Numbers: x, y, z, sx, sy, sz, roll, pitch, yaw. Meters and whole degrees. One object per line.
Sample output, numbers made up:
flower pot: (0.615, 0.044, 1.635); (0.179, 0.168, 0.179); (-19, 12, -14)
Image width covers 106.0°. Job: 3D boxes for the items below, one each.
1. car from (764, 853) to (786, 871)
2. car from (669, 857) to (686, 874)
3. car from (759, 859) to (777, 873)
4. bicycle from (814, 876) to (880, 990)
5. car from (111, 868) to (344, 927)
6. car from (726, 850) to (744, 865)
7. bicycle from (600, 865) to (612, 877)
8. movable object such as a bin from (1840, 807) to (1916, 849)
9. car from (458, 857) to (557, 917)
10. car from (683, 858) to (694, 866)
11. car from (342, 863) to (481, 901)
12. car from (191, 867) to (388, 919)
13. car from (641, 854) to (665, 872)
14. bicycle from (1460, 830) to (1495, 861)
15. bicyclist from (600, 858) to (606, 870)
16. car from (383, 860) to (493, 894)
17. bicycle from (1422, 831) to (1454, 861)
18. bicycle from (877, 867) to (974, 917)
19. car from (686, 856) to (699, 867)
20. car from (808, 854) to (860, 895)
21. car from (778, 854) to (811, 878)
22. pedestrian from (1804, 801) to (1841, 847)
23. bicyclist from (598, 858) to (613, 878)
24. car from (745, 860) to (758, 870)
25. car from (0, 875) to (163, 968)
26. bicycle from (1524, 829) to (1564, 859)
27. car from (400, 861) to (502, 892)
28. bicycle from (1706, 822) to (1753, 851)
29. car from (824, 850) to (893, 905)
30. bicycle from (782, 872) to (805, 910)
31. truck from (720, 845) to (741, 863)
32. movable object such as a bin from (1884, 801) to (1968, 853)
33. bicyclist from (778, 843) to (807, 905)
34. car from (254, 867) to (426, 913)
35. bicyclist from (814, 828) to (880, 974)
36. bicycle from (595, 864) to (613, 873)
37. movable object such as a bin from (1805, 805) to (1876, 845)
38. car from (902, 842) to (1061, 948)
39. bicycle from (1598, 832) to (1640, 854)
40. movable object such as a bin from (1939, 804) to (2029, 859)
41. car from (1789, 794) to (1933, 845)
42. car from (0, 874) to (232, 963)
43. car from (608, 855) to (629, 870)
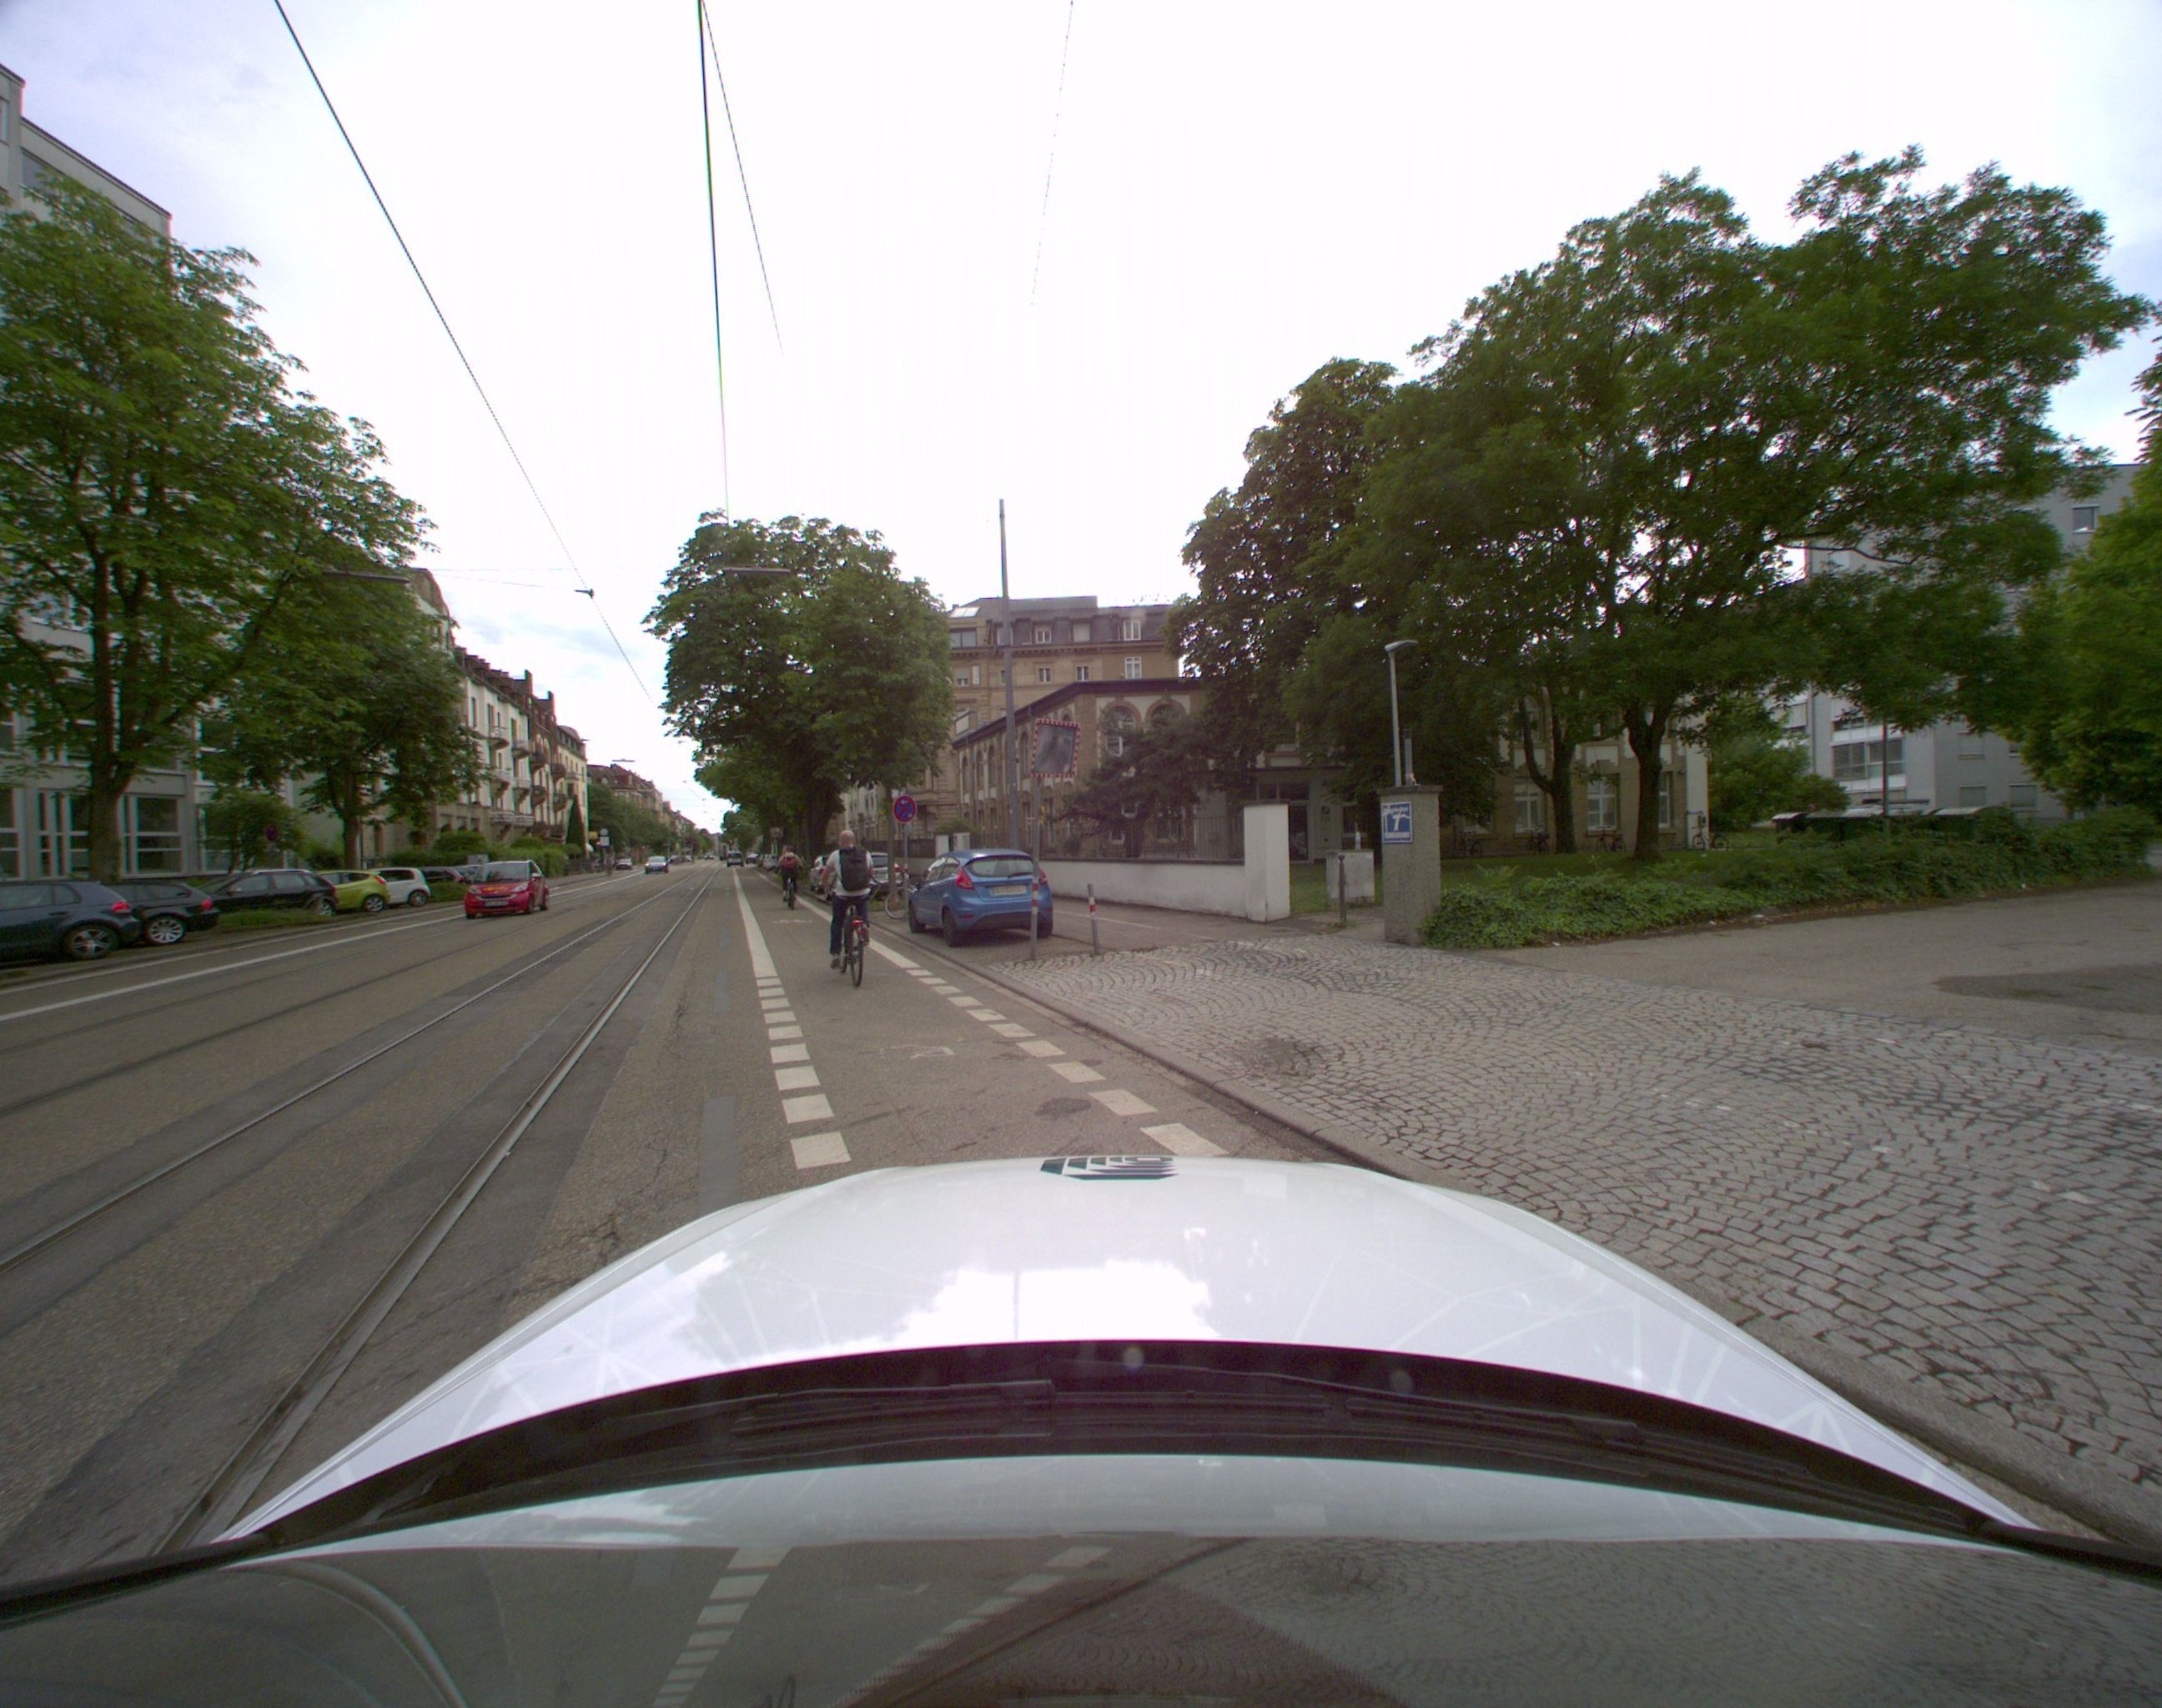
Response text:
car: (-25.857, 0.680, 68.761); (1.673, 1.399, 3.635); (-2, 1, -21)
car: (-63.321, 1.758, 127.711); (2.216, 2.417, 3.967); (-3, 1, -25)
car: (-33.621, 1.253, 87.436); (1.777, 1.399, 3.768); (-2, 1, -21)
bicycle: (-2.715, 0.855, 9.496); (0.665, 1.117, 1.856); (0, 0, -16)
car: (-22.841, 1.104, 22.012); (1.680, 1.351, 3.989); (-1, 0, 21)
car: (-42.404, 0.431, 99.862); (1.818, 1.708, 3.672); (-1, 0, -21)
bicycle: (-37.080, 1.293, 63.586); (0.471, 0.868, 2.122); (-3, 1, -23)
movable object such as a bin: (24.910, -0.804, 25.484); (1.049, 1.264, 1.353); (-2, 1, -2)
car: (-15.998, 0.876, 22.849); (1.684, 1.522, 2.760); (-1, 0, -23)
car: (-87.650, 1.849, 182.011); (1.778, 1.643, 3.542); (-3, 1, -20)
car: (-26.784, 1.079, 32.761); (1.680, 1.351, 3.989); (-1, 0, 21)
car: (-24.081, 1.133, 24.973); (1.680, 1.351, 3.989); (-1, 0, 21)
car: (-37.095, 0.731, 70.692); (1.750, 1.428, 3.965); (-3, 1, -27)
bicycle: (15.457, -0.346, 31.762); (0.613, 1.119, 2.228); (-2, 1, 10)
bicyclist: (-47.423, 1.020, 80.785); (0.515, 1.168, 0.434); (-3, 1, -31)
car: (-29.573, 1.024, 37.530); (1.678, 1.386, 3.742); (-1, 0, 42)
bicycle: (14.037, -0.346, 32.092); (0.613, 1.119, 2.228); (-2, 1, 10)
bicycle: (-3.438, 0.819, 18.078); (2.024, 0.957, 0.529); (-3, 1, -28)
car: (-80.219, 1.515, 168.191); (2.215, 2.255, 3.969); (-3, 1, -24)
car: (-9.441, 0.730, 30.985); (1.482, 1.428, 3.537); (-1, 1, -24)
car: (-18.132, 0.739, 51.496); (1.798, 1.399, 3.768); (-2, 1, -21)
pedestrian: (29.630, -1.189, 32.541); (0.751, 1.809, 0.698); (-2, -1, -1)
bicyclist: (-37.047, 1.074, 63.444); (0.847, 1.500, 1.019); (-3, 1, -23)
car: (-49.555, 1.682, 122.477); (1.777, 1.399, 3.768); (-2, 1, -21)
car: (-18.676, 1.154, 13.428); (1.680, 1.454, 4.369); (-1, 0, 21)
bicycle: (18.031, -0.409, 31.737); (0.613, 1.119, 2.228); (-2, 1, 10)
car: (-30.951, 1.057, 40.056); (1.678, 1.386, 3.742); (-1, 0, 42)
bicycle: (24.772, -0.675, 31.149); (0.393, 1.065, 1.829); (-2, 1, 2)
car: (-6.742, 0.650, 24.455); (1.482, 1.481, 3.537); (-1, 1, -24)
bicycle: (-7.890, 0.981, 22.337); (0.491, 0.979, 2.042); (-1, -1, -22)
truck: (-81.848, 0.014, 190.179); (3.829, 4.029, 10.129); (-3, 1, -27)
movable object such as a bin: (24.866, -0.779, 23.989); (1.049, 1.456, 1.353); (-1, 1, -2)
bicyclist: (-7.866, 0.526, 22.175); (0.660, 1.610, 0.913); (-2, 1, -22)
car: (-25.182, 1.159, 27.856); (1.680, 1.351, 3.989); (-1, 0, 21)
bicyclist: (-2.670, 0.502, 9.324); (0.663, 1.569, 0.980); (-1, 0, -16)
bicycle: (-47.362, 1.477, 80.869); (1.455, 0.800, 0.430); (-3, 1, -31)
movable object such as a bin: (25.158, -0.951, 26.993); (1.051, 1.264, 1.352); (-2, 1, -5)
car: (-1.794, 0.588, 13.773); (1.682, 1.460, 3.405); (-4, 2, -24)
bicycle: (20.830, -0.443, 31.588); (0.613, 0.813, 1.950); (-2, 1, 10)
movable object such as a bin: (24.777, -0.628, 22.384); (1.045, 1.449, 1.359); (-1, 3, 12)
car: (32.907, -1.432, 34.438); (4.324, 2.013, 1.853); (-1, 0, -1)
car: (-20.223, 1.232, 16.146); (1.680, 1.535, 4.369); (-1, 0, 21)
car: (-73.277, 1.260, 129.085); (2.187, 2.207, 4.187); (-3, 1, -23)
